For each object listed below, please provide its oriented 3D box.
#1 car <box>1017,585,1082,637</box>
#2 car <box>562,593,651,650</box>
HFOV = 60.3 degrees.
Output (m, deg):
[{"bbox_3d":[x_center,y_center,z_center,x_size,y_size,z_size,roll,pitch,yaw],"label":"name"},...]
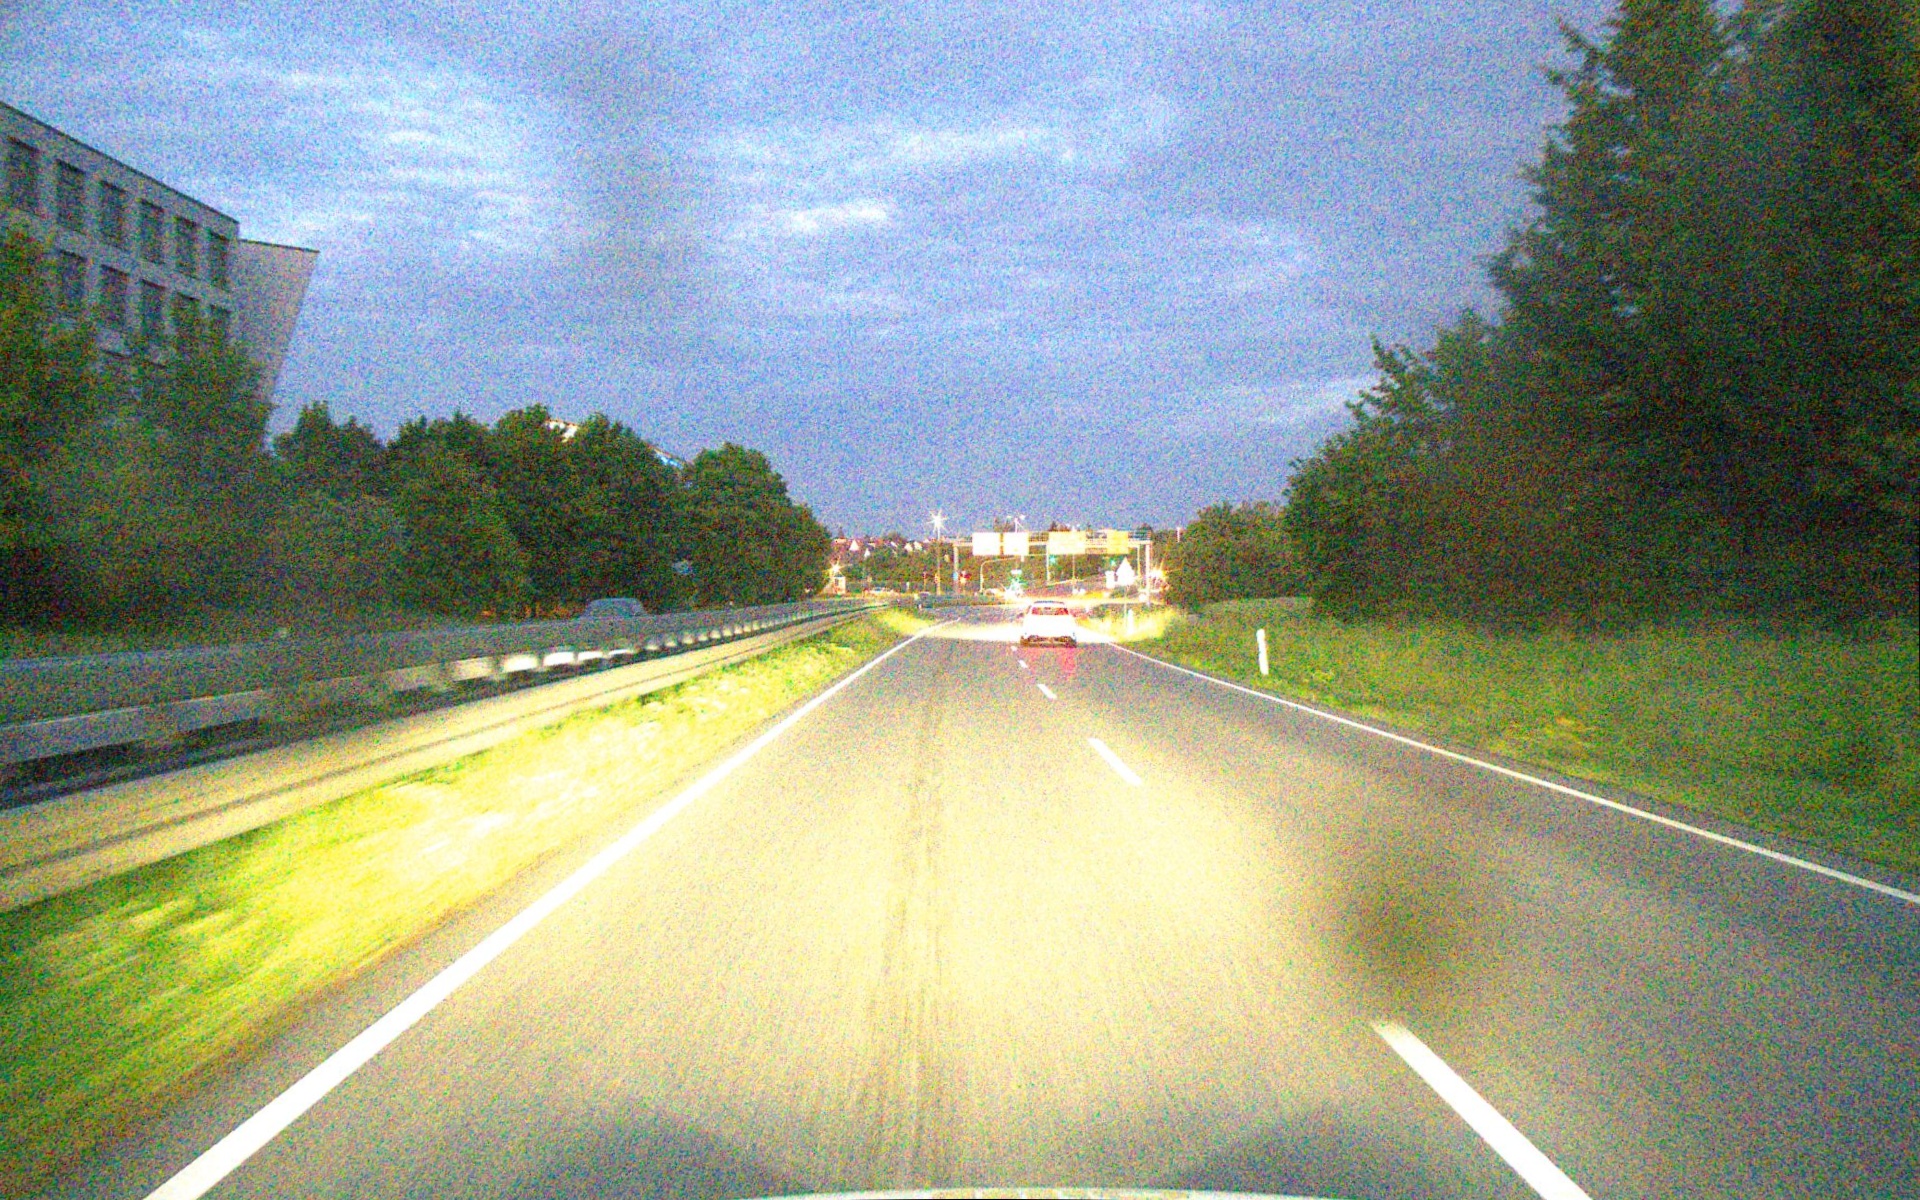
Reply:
[{"bbox_3d":[2.901,0.339,54.375,1.966,1.639,3.845,0,0,1],"label":"car"},{"bbox_3d":[-10.319,0.593,48.528,1.798,1.495,3.845,-2,1,-1],"label":"car"}]
